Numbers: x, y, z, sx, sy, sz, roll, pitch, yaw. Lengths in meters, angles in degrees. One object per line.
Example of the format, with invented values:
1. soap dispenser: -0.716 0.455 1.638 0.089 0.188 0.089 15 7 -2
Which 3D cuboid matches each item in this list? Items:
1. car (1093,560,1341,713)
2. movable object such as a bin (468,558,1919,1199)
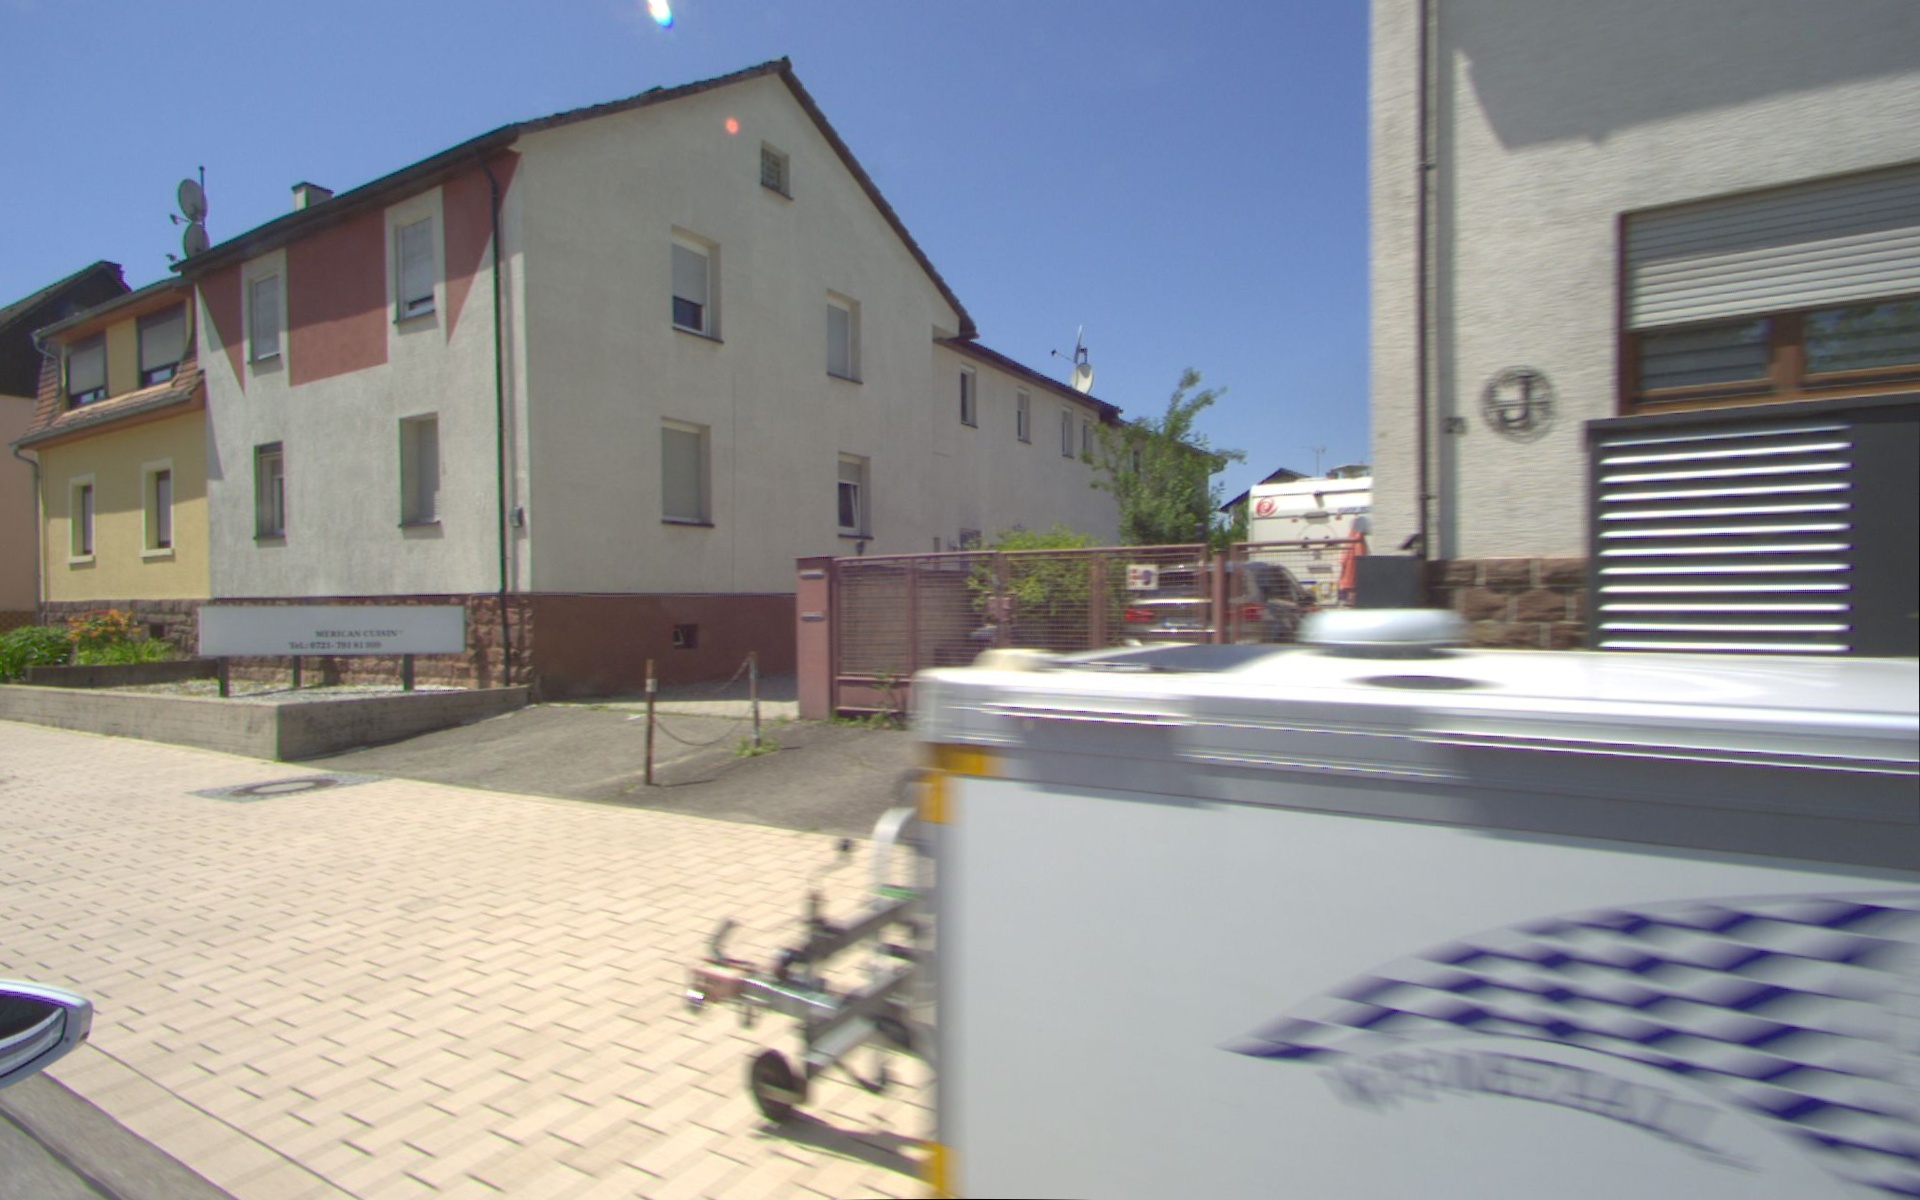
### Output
1. car: 3.446 0.385 12.868 1.972 1.625 3.978 -2 0 32
2. movable object such as a bin: 0.690 0.702 1.938 2.998 1.435 1.569 -2 -1 31
